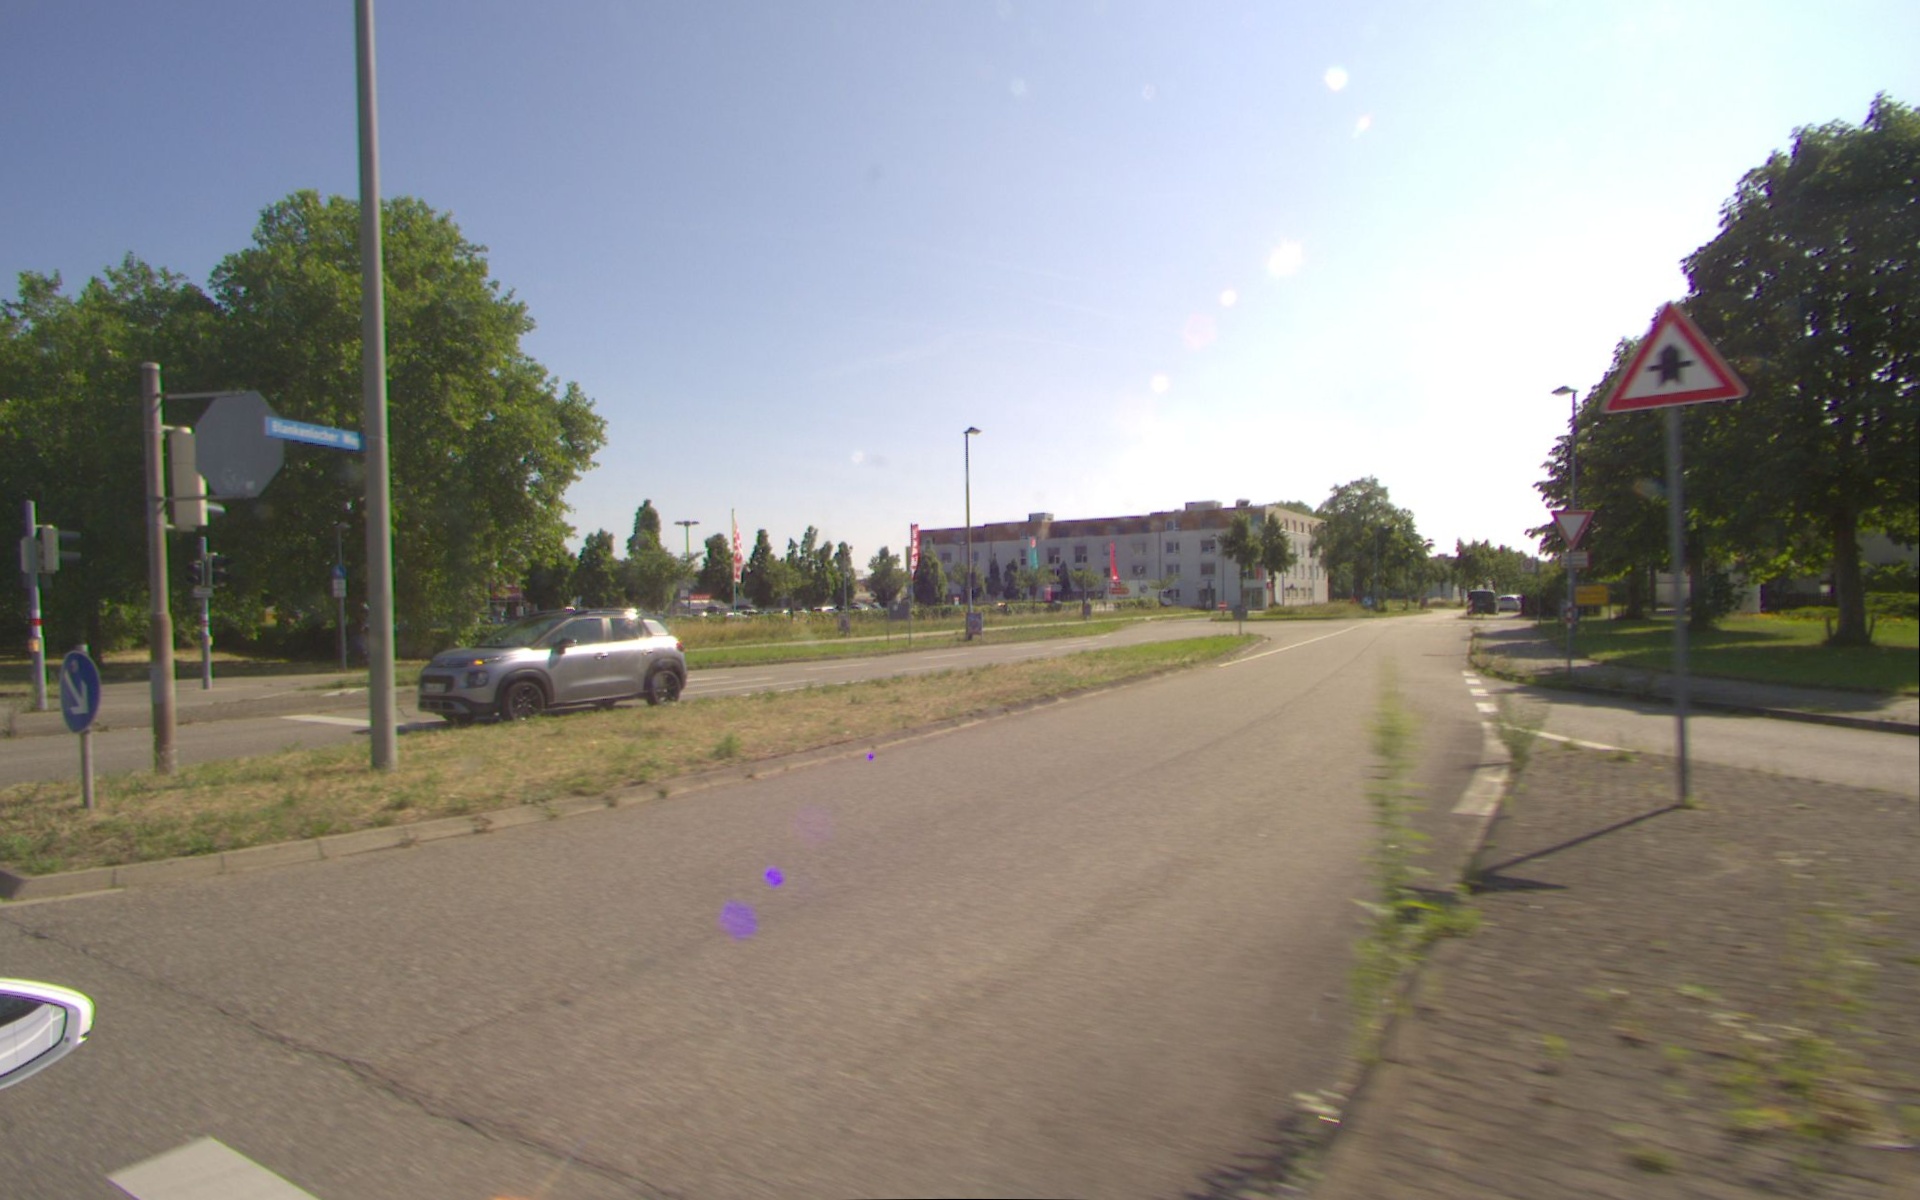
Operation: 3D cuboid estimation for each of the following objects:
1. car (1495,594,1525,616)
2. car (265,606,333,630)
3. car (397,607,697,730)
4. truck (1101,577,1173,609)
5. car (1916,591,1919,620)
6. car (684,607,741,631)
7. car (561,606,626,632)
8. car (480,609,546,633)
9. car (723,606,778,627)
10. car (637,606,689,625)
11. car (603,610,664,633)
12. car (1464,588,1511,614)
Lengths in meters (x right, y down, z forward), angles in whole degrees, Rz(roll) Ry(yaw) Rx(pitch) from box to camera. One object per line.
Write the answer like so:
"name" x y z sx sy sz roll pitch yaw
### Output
"car" 51.878 0.527 94.408 1.974 1.950 3.976 -1 -2 35
"car" -49.457 1.350 74.988 1.980 1.705 3.963 -2 -2 44
"car" -6.184 0.937 15.465 1.718 1.584 4.043 -1 0 31
"truck" 20.932 -0.829 118.674 8.093 3.592 2.633 -1 0 -2
"car" 44.363 0.193 43.408 3.944 1.305 1.723 -1 0 33
"car" -19.596 1.491 79.408 1.976 1.751 3.968 -1 0 40
"car" -26.511 1.340 72.546 1.976 1.751 3.968 -1 0 40
"car" -35.788 1.643 80.238 1.962 1.773 4.476 -1 0 37
"car" -18.884 1.491 90.317 4.450 1.773 1.974 -1 0 -36
"car" -29.081 1.545 98.212 1.967 1.773 4.467 -1 0 43
"car" -27.045 1.769 83.131 1.962 1.773 4.476 -1 0 37
"car" 37.785 0.074 71.706 1.979 1.814 3.964 -1 0 43
